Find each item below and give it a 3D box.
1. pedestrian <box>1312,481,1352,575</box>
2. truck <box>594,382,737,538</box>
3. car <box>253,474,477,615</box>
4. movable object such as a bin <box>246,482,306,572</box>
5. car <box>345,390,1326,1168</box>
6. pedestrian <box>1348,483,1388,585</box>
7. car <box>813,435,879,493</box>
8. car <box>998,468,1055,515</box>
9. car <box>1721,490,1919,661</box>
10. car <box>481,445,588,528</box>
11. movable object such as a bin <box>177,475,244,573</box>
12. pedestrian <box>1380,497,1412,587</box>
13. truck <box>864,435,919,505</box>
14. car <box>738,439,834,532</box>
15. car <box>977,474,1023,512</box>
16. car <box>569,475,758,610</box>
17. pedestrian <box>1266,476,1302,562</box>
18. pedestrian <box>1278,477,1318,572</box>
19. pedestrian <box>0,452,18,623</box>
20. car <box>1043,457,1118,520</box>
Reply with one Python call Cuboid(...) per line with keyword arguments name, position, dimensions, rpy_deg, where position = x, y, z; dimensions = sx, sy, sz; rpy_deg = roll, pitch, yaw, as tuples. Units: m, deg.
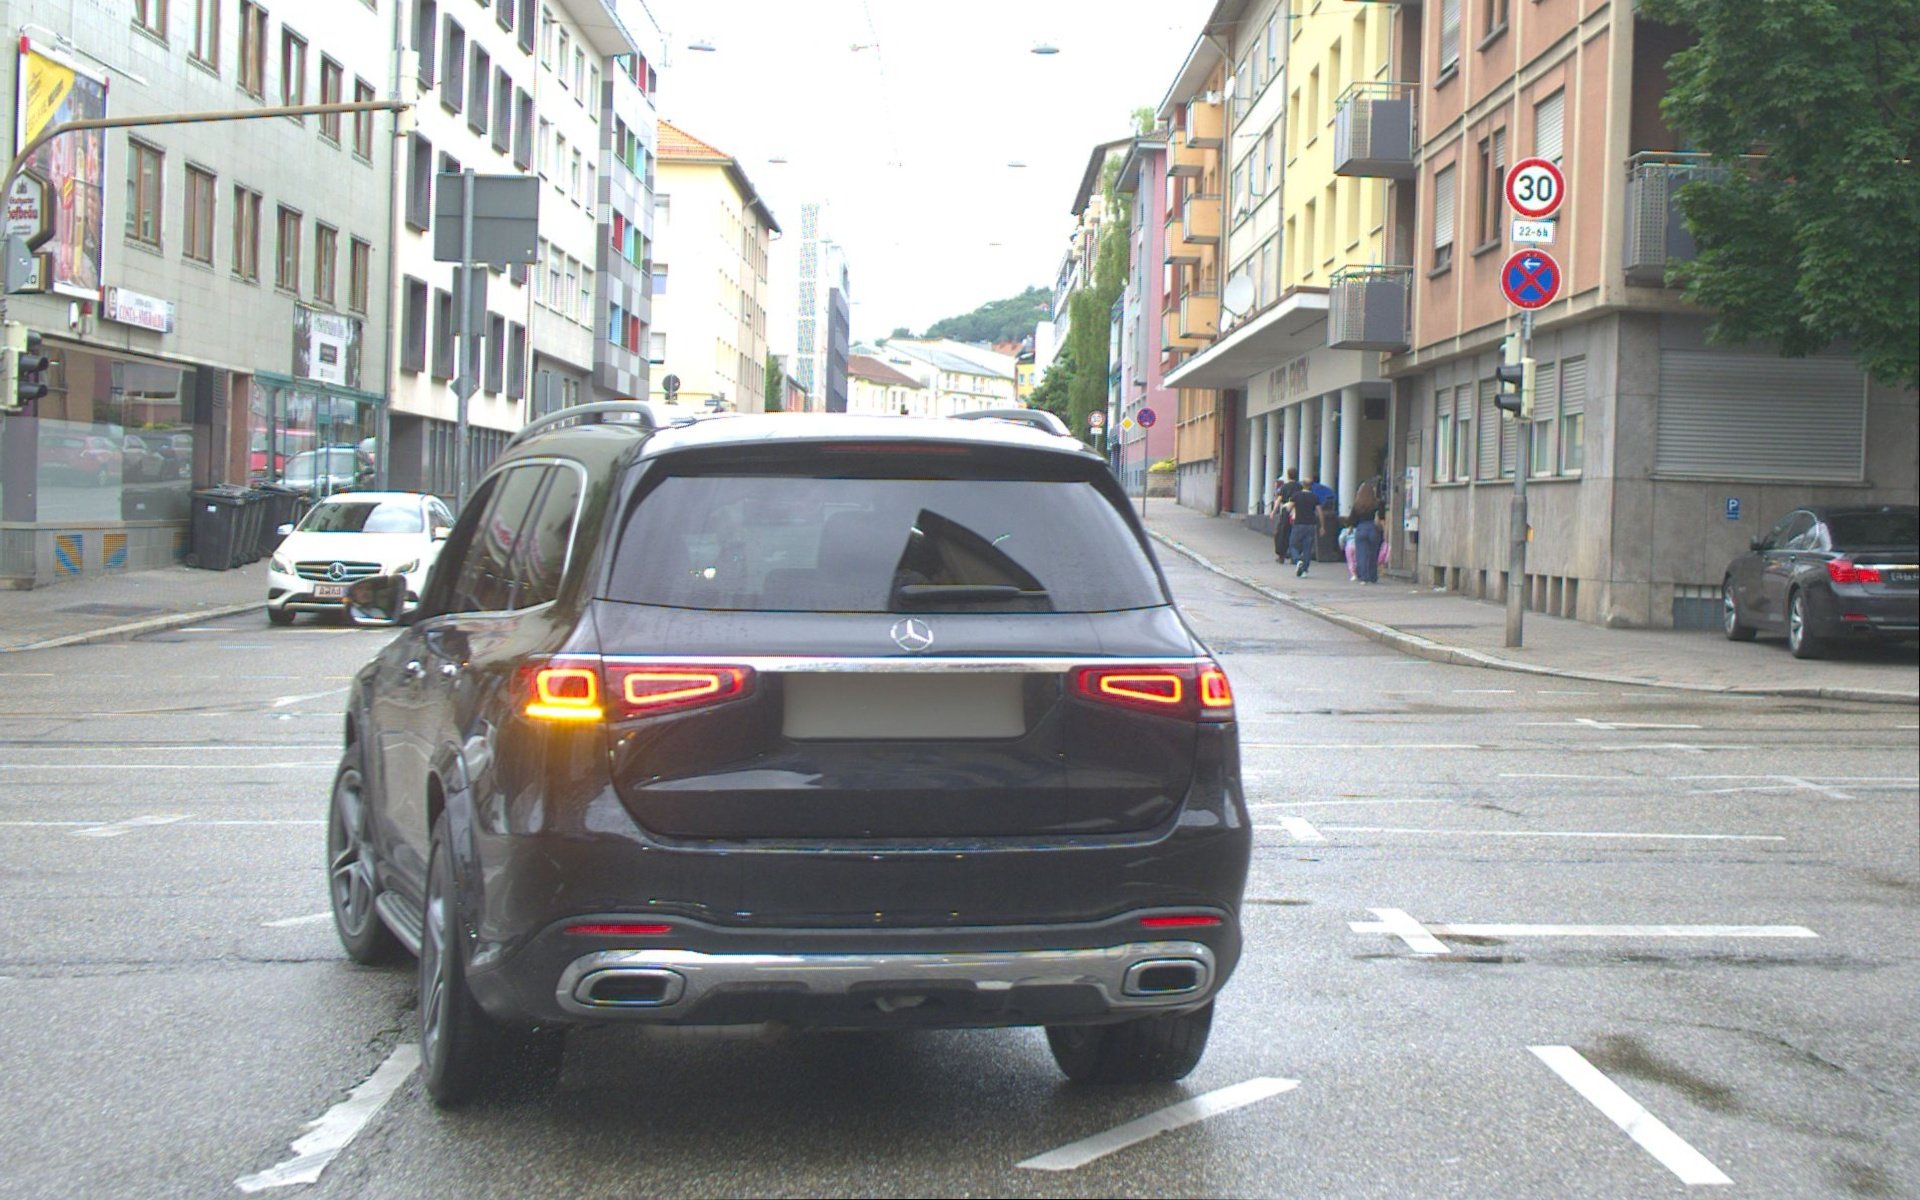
Cuboid(name="pedestrian", position=(6.221, -1.202, 57.513), dimensions=(0.520, 1.513, 0.569), rpy_deg=(3, 4, 0))
Cuboid(name="truck", position=(-8.018, -3.758, 94.544), dimensions=(2.807, 3.819, 8.144), rpy_deg=(3, 0, 2))
Cuboid(name="car", position=(-6.705, -0.653, 39.099), dimensions=(1.844, 1.507, 4.000), rpy_deg=(1, 1, 0))
Cuboid(name="movable object such as a bin", position=(-10.387, -1.103, 52.219), dimensions=(0.697, 1.311, 0.782), rpy_deg=(3, 0, -1))
Cuboid(name="car", position=(-0.669, 0.386, 10.201), dimensions=(2.020, 1.733, 4.749), rpy_deg=(1, 1, -13))
Cuboid(name="pedestrian", position=(6.458, -1.049, 54.439), dimensions=(0.479, 1.560, 0.558), rpy_deg=(3, 4, 0))
Cuboid(name="car", position=(-3.519, -4.211, 107.074), dimensions=(1.844, 1.668, 4.000), rpy_deg=(1, 1, 1))
Cuboid(name="car", position=(2.564, -4.130, 131.027), dimensions=(2.016, 1.557, 4.000), rpy_deg=(3, 0, 2))
Cuboid(name="car", position=(8.917, -0.272, 33.898), dimensions=(1.844, 1.549, 4.796), rpy_deg=(1, 1, 1))
Cuboid(name="car", position=(-8.642, -2.281, 70.114), dimensions=(1.723, 1.597, 4.000), rpy_deg=(1, 1, -1))
Cuboid(name="movable object such as a bin", position=(-10.366, -1.047, 47.578), dimensions=(0.697, 1.311, 0.782), rpy_deg=(3, 0, -1))
Cuboid(name="pedestrian", position=(6.906, -0.925, 54.478), dimensions=(0.363, 1.394, 0.370), rpy_deg=(3, 4, 0))
Cuboid(name="truck", position=(-4.134, -7.847, 208.799), dimensions=(2.807, 3.819, 8.144), rpy_deg=(3, 0, 2))
Cuboid(name="car", position=(-4.343, -2.843, 86.251), dimensions=(2.065, 2.233, 4.620), rpy_deg=(1, 1, 1))
Cuboid(name="car", position=(1.918, -5.129, 165.123), dimensions=(2.016, 1.557, 4.000), rpy_deg=(3, 0, 2))
Cuboid(name="car", position=(-3.415, -0.690, 40.215), dimensions=(1.844, 1.484, 4.000), rpy_deg=(1, 1, 0))
Cuboid(name="pedestrian", position=(6.036, -1.510, 64.041), dimensions=(0.520, 1.550, 0.569), rpy_deg=(3, 4, 0))
Cuboid(name="pedestrian", position=(5.656, -1.263, 57.492), dimensions=(0.520, 1.533, 0.569), rpy_deg=(3, 4, 0))
Cuboid(name="pedestrian", position=(-9.736, -0.634, 33.629), dimensions=(0.708, 1.641, 0.759), rpy_deg=(1, 5, -36))
Cuboid(name="car", position=(3.479, -3.192, 99.073), dimensions=(2.016, 1.557, 5.154), rpy_deg=(3, 0, 2))
